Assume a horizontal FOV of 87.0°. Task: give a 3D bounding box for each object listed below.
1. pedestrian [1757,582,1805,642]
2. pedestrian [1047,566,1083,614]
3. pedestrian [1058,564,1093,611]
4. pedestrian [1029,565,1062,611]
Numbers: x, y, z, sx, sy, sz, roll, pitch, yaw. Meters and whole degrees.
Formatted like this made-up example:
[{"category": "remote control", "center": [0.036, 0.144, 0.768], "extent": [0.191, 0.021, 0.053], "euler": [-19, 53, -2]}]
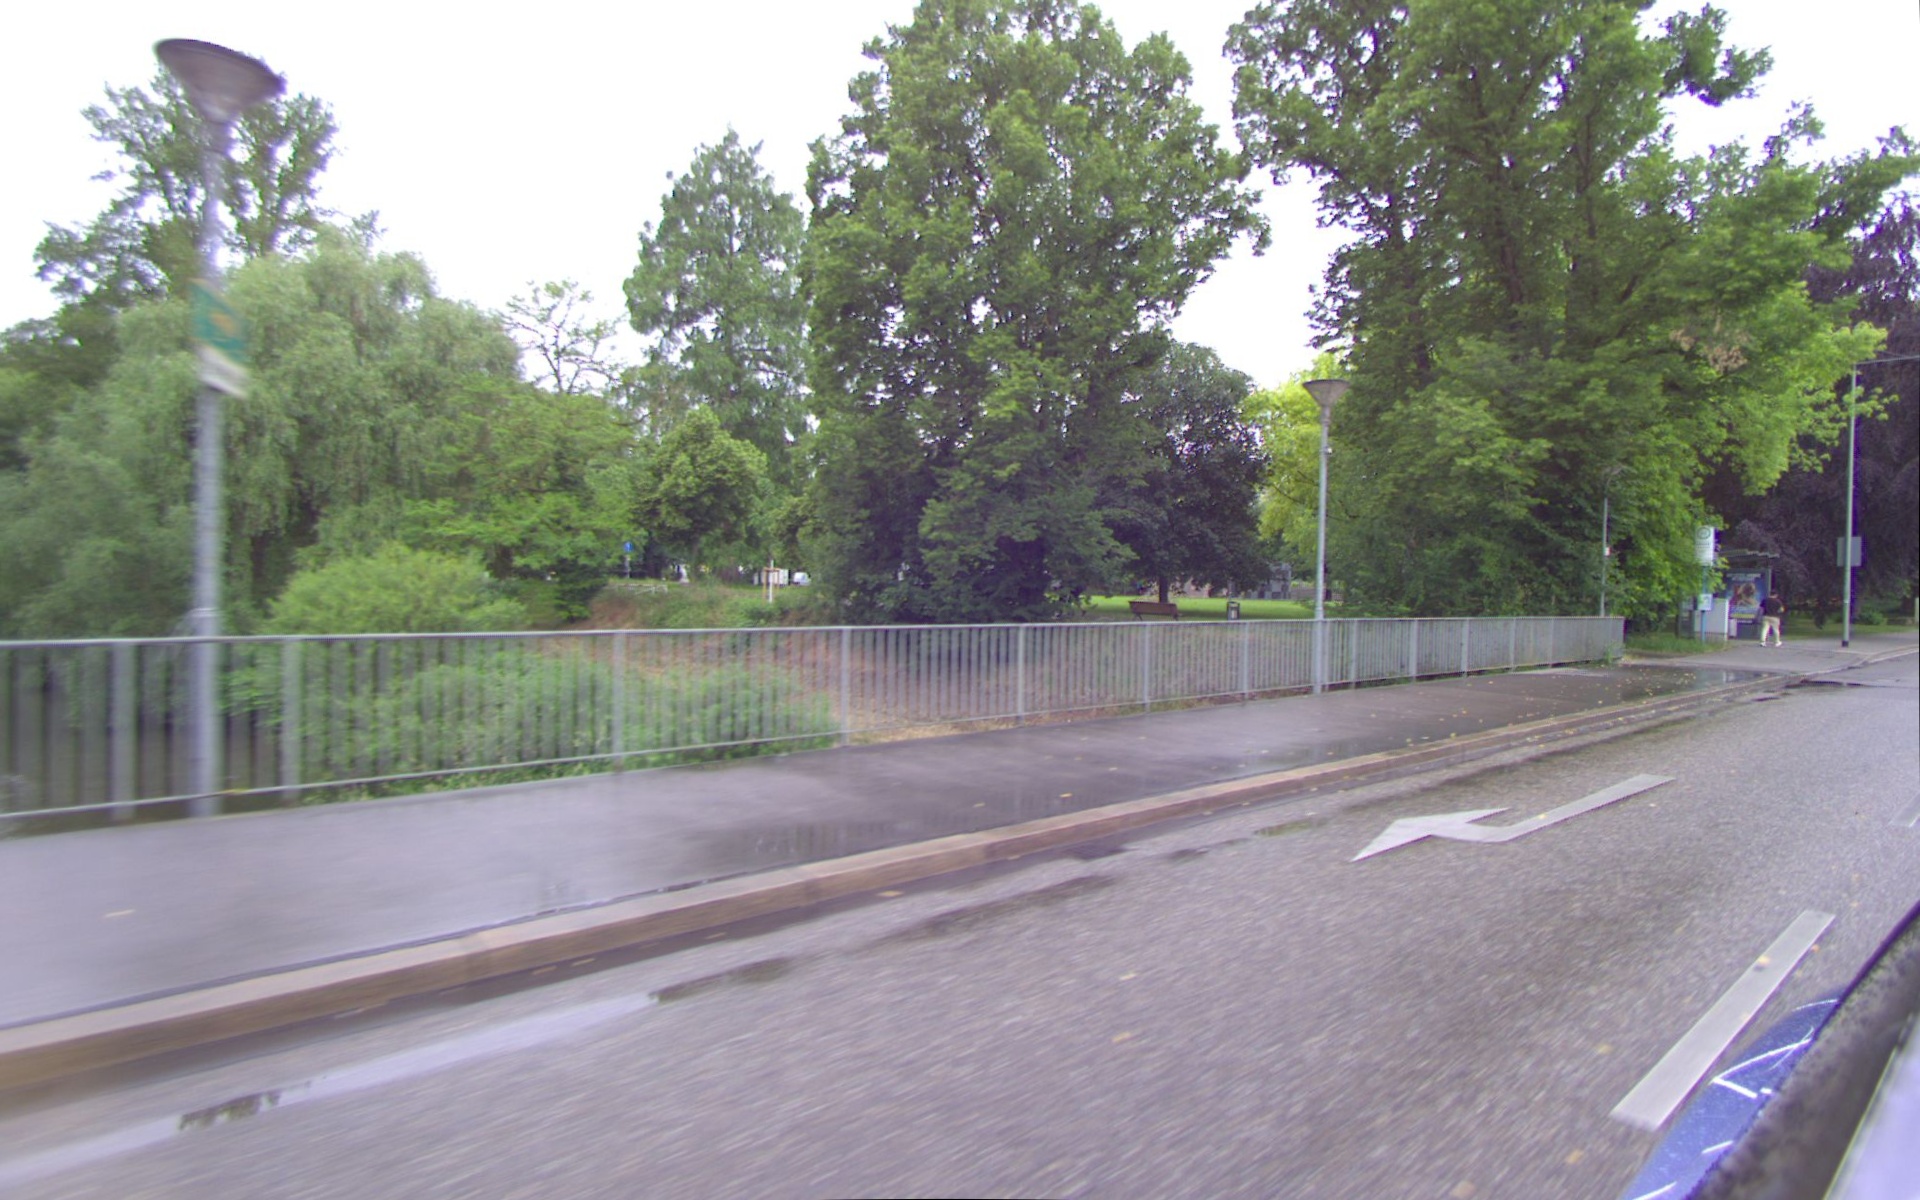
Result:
[{"category": "pedestrian", "center": [24.433, 0.333, 30.125], "extent": [1.147, 1.696, 0.849], "euler": [0, 4, -41]}, {"category": "pedestrian", "center": [3.920, -0.394, 37.864], "extent": [1.057, 1.774, 0.769], "euler": [2, 2, 45]}, {"category": "pedestrian", "center": [4.407, -0.482, 38.716], "extent": [1.057, 1.774, 0.769], "euler": [2, 2, 45]}, {"category": "pedestrian", "center": [3.369, -0.477, 39.954], "extent": [1.057, 1.774, 0.769], "euler": [2, 2, 45]}]
